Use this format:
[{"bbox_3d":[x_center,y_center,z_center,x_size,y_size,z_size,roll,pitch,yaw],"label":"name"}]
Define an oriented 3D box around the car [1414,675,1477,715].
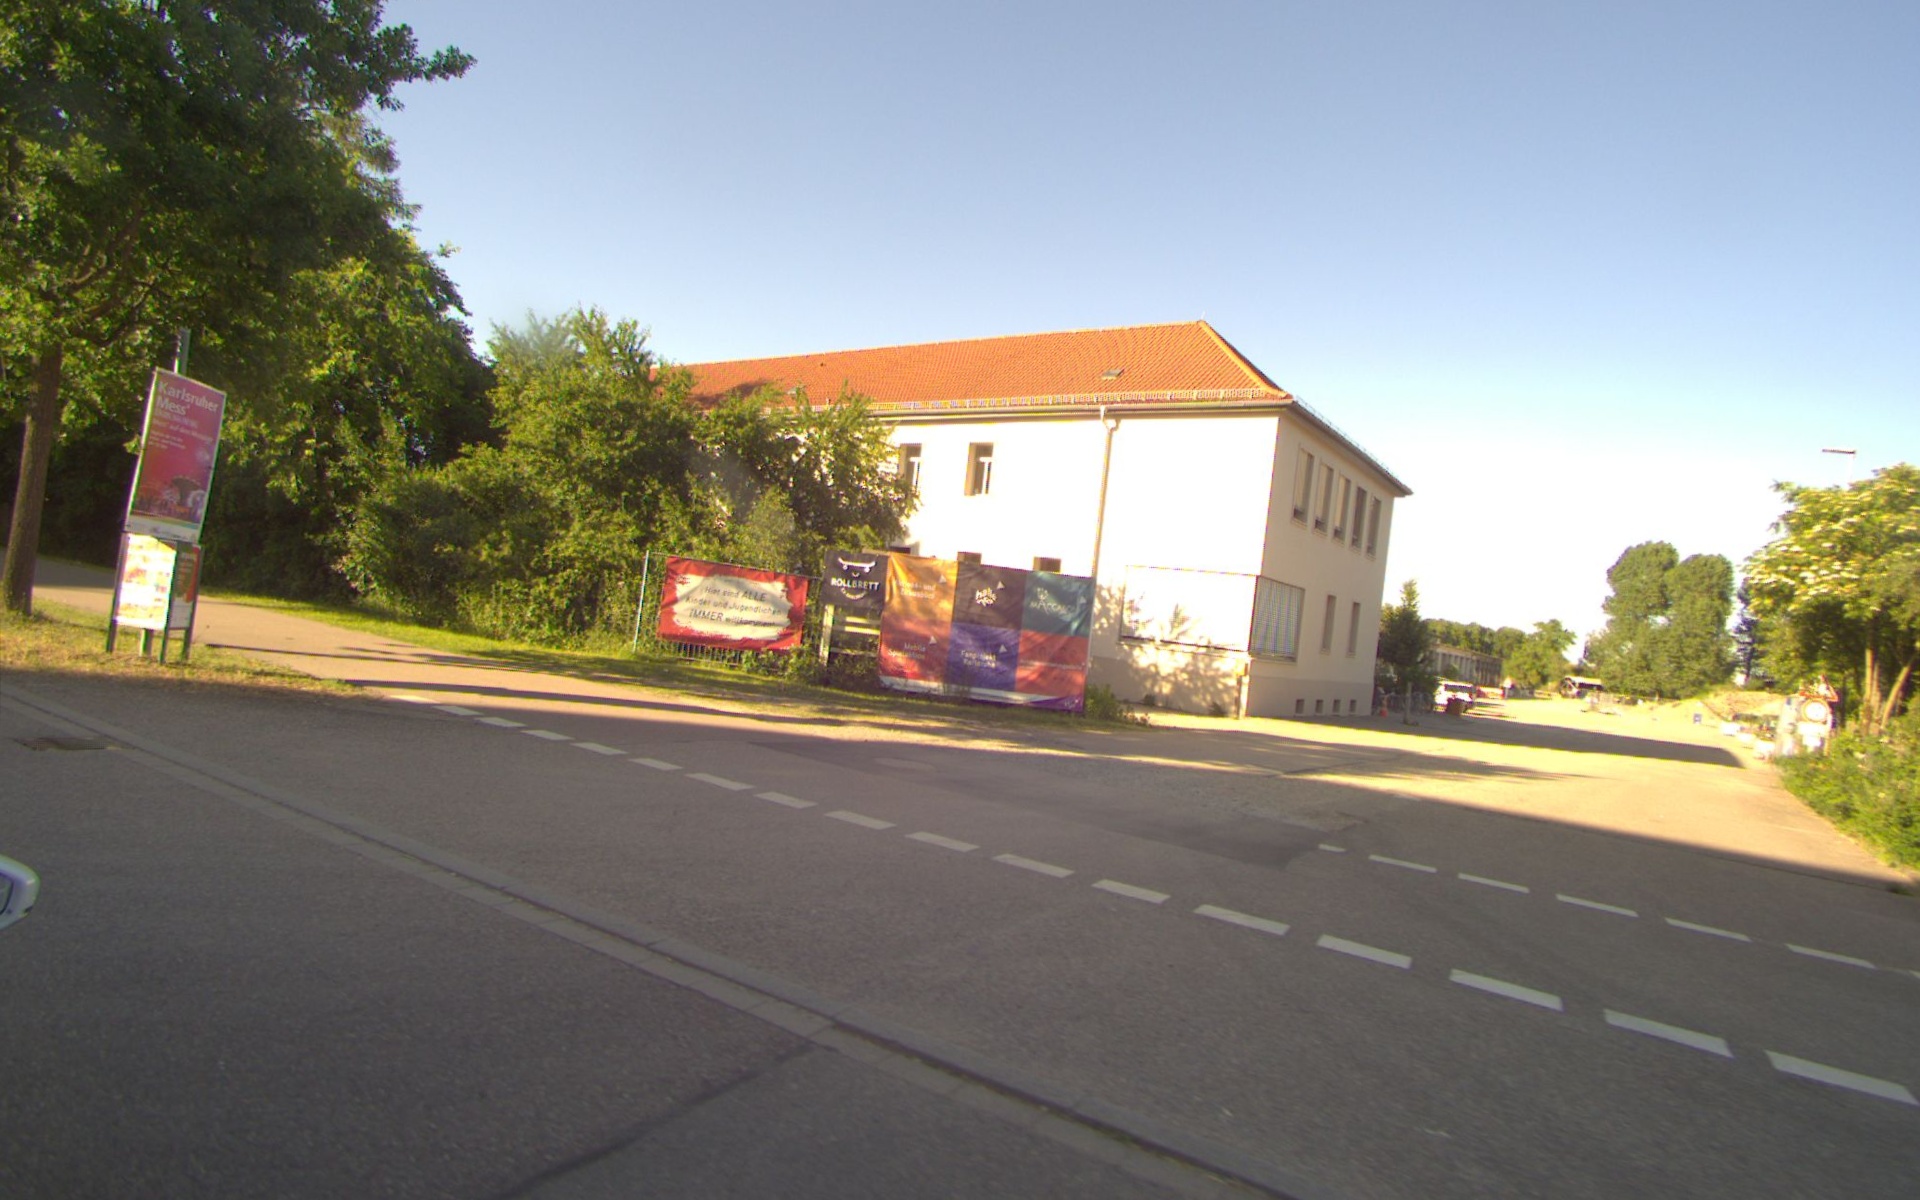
[{"bbox_3d":[27.453,5.341,56.875,2.952,1.813,1.368,7,0,32],"label":"car"}]
